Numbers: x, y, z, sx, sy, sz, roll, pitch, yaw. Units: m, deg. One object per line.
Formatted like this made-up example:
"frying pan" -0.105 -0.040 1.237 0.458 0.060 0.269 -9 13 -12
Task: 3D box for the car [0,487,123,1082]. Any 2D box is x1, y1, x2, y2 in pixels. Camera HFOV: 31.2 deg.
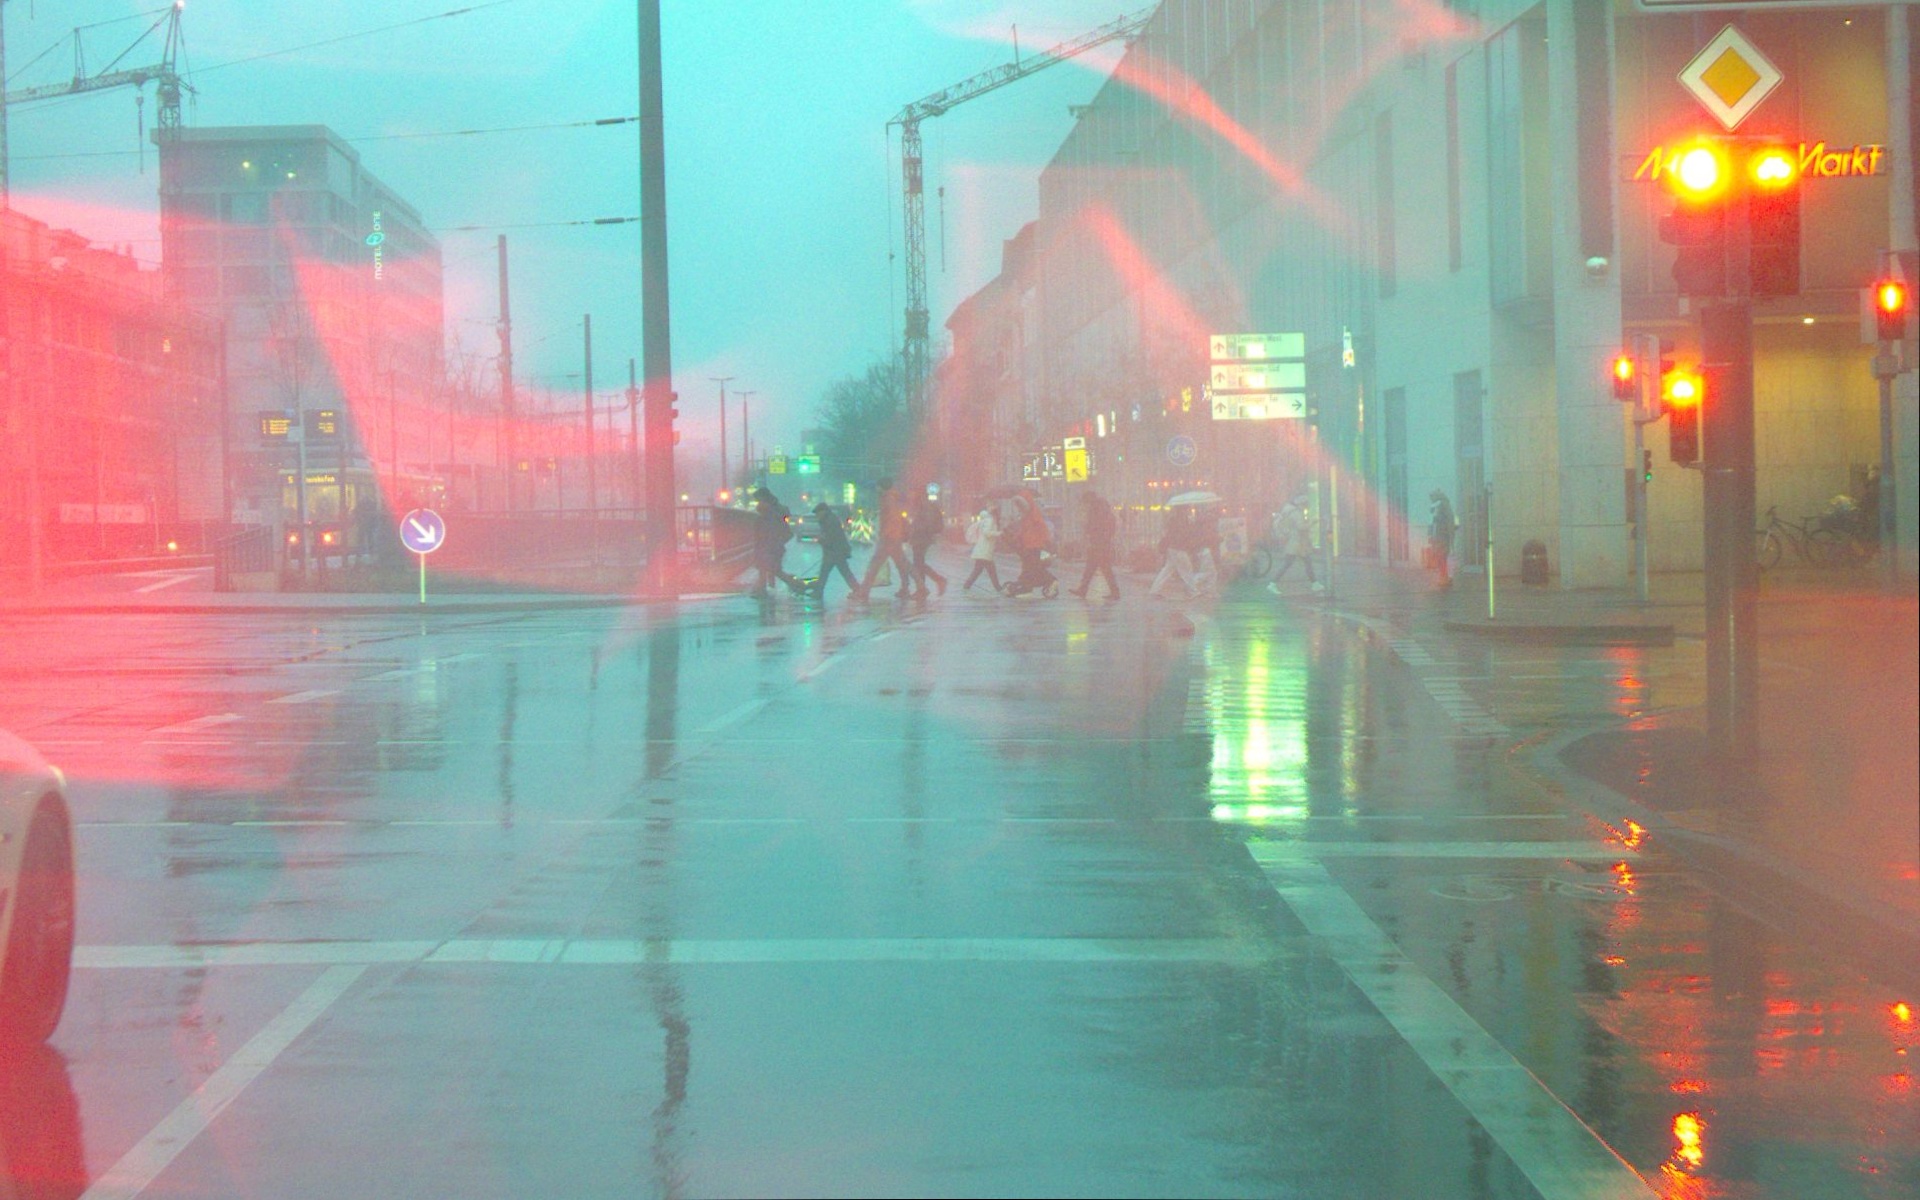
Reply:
"car" -3.397 0.521 7.644 1.909 1.515 4.924 -1 1 -1

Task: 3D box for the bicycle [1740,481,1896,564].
"bicycle" 14.283 -1.291 57.262 2.425 1.324 0.635 -1 2 -4

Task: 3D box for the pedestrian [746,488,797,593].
"pedestrian" -2.964 -0.939 54.090 0.706 1.613 0.680 -1 1 2

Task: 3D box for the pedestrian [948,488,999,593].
"pedestrian" 0.219 -0.960 55.403 0.741 1.661 0.400 -1 1 7

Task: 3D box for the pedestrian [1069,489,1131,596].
"pedestrian" 2.233 -0.924 54.849 0.842 1.682 0.677 -2 1 -9

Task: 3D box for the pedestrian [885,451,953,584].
"pedestrian" -0.625 -1.258 52.352 0.775 2.007 0.613 -2 2 -38

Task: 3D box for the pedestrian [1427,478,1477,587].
"pedestrian" 8.073 -1.109 56.422 0.703 1.754 0.652 -1 1 0

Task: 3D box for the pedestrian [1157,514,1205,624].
"pedestrian" 3.579 -0.506 55.789 0.702 1.754 0.667 -1 1 0

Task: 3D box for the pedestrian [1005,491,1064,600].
"pedestrian" 1.170 -0.853 53.888 0.831 1.673 0.619 -1 1 -4

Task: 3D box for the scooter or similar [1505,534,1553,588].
"scooter or similar" 9.721 -0.669 58.727 0.741 0.913 0.400 -1 1 2

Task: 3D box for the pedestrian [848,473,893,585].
"pedestrian" -1.407 -1.114 54.043 0.619 1.740 0.613 -1 1 -5

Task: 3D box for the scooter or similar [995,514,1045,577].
"scooter or similar" 0.964 -0.885 55.319 0.741 0.990 0.400 -1 1 7

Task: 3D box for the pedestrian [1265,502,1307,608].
"pedestrian" 5.420 -0.751 57.103 0.617 1.754 0.482 -1 1 0

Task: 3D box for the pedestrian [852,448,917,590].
"pedestrian" -1.131 -1.206 51.236 0.686 2.080 0.613 -2 2 -39

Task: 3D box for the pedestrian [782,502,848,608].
"pedestrian" -2.233 -0.689 52.941 0.817 1.613 0.538 0 2 38

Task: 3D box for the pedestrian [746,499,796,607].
"pedestrian" -2.885 -0.723 52.582 0.706 1.613 0.613 -1 1 -2

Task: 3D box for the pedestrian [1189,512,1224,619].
"pedestrian" 4.105 -0.578 57.248 0.512 1.754 0.374 -1 1 0
